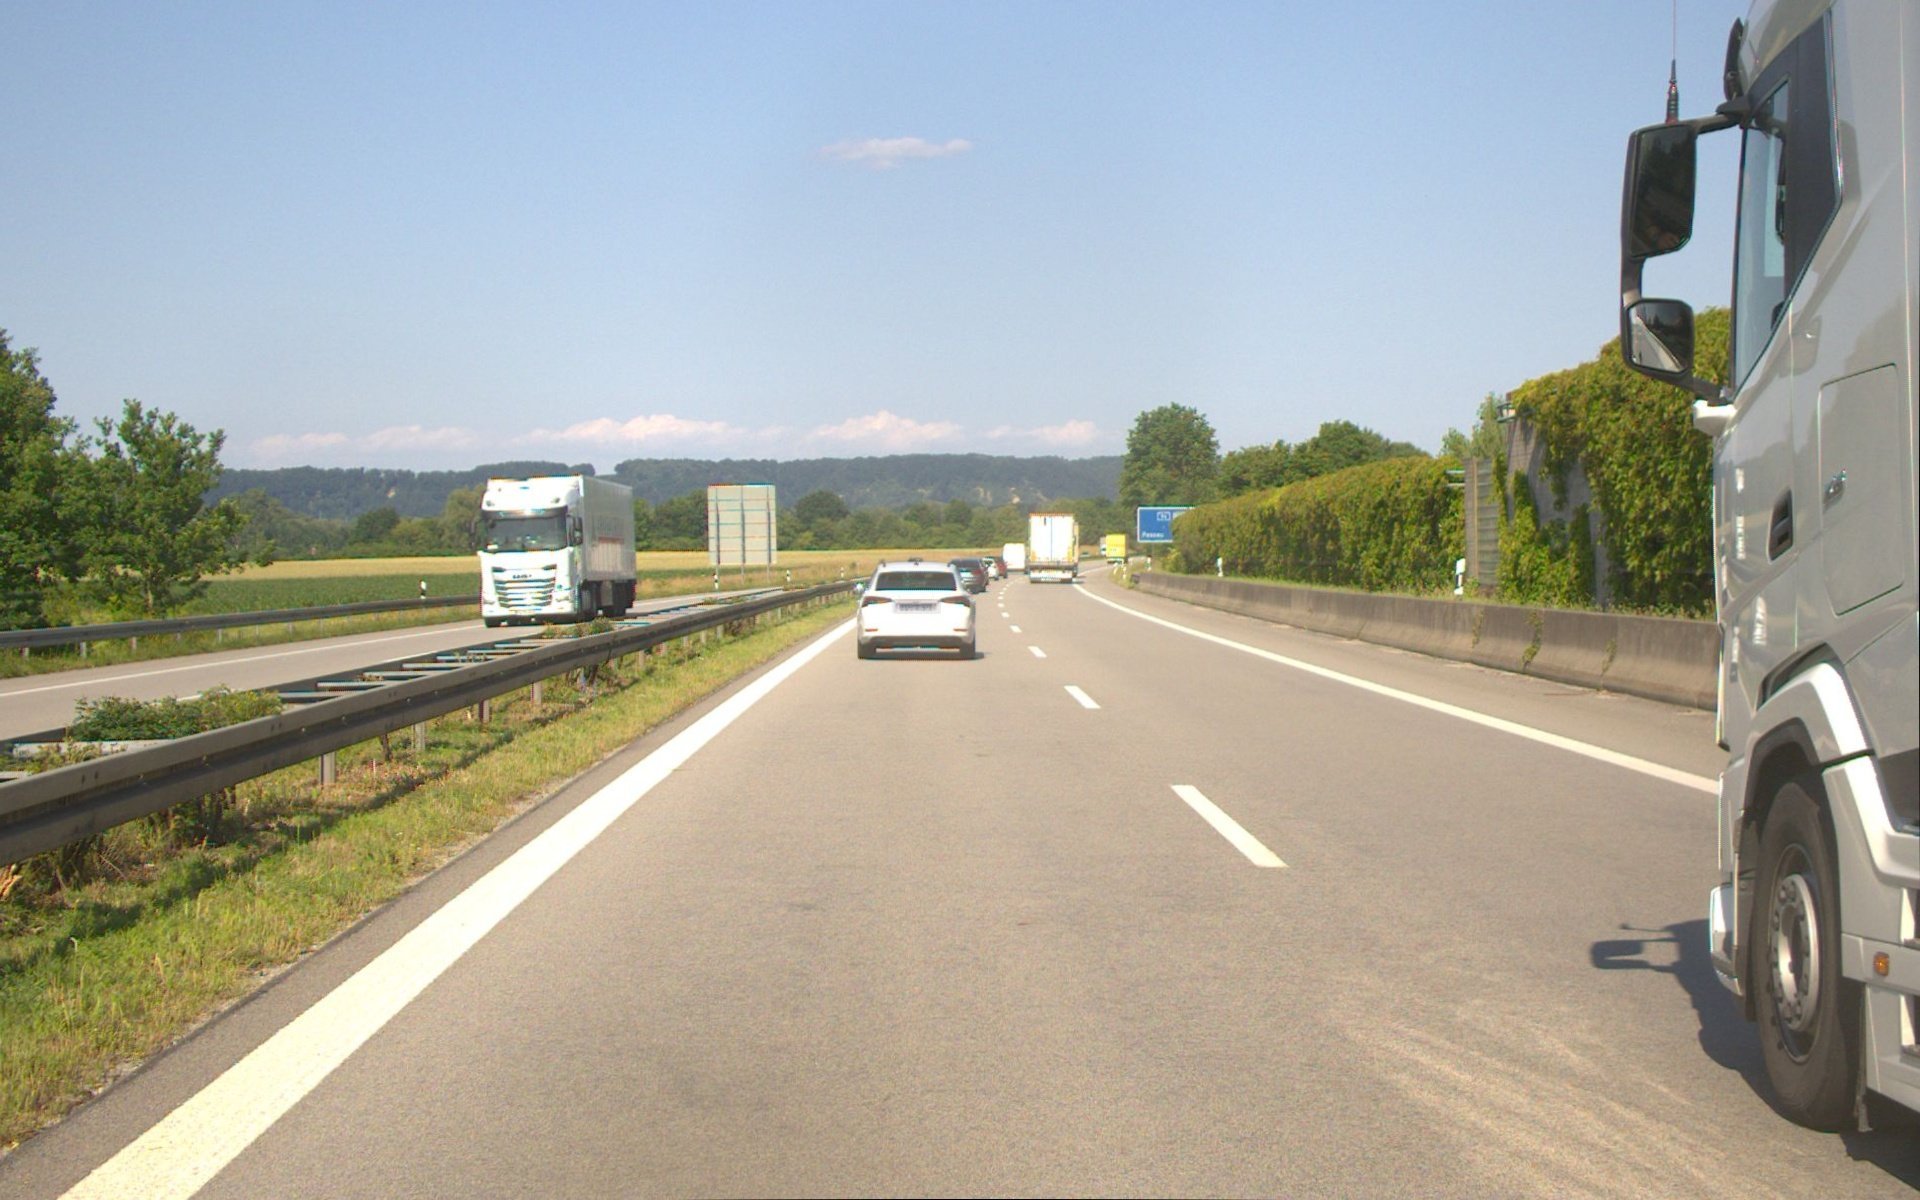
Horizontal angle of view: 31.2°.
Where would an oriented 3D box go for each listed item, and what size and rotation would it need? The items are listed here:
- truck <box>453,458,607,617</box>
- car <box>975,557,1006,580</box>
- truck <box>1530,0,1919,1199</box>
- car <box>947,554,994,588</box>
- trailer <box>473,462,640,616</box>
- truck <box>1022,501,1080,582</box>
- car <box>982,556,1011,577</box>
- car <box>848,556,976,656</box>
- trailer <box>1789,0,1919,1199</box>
[{"bbox_3d":[-11.693,-1.679,94.146,3.156,4.087,7.735,-1,0,0],"label":"truck"},{"bbox_3d":[1.977,-1.993,219.981,1.771,1.416,4.364,1,0,3],"label":"car"},{"bbox_3d":[3.421,-0.629,7.859,2.840,3.953,7.044,-1,1,-2],"label":"truck"},{"bbox_3d":[0.453,-1.237,148.657,1.771,1.416,4.495,1,0,3],"label":"car"},{"bbox_3d":[-11.629,-1.717,100.437,3.151,4.110,13.442,-1,0,0],"label":"trailer"},{"bbox_3d":[5.308,-3.340,198.834,3.152,4.596,8.904,0,1,3],"label":"truck"},{"bbox_3d":[2.509,-2.310,237.533,1.771,1.416,4.364,1,0,3],"label":"car"},{"bbox_3d":[-0.787,0.060,52.894,1.840,1.416,5.255,2,1,-2],"label":"car"},{"bbox_3d":[3.577,-0.482,1.283,2.818,3.953,14.161,-1,1,-1],"label":"trailer"}]
